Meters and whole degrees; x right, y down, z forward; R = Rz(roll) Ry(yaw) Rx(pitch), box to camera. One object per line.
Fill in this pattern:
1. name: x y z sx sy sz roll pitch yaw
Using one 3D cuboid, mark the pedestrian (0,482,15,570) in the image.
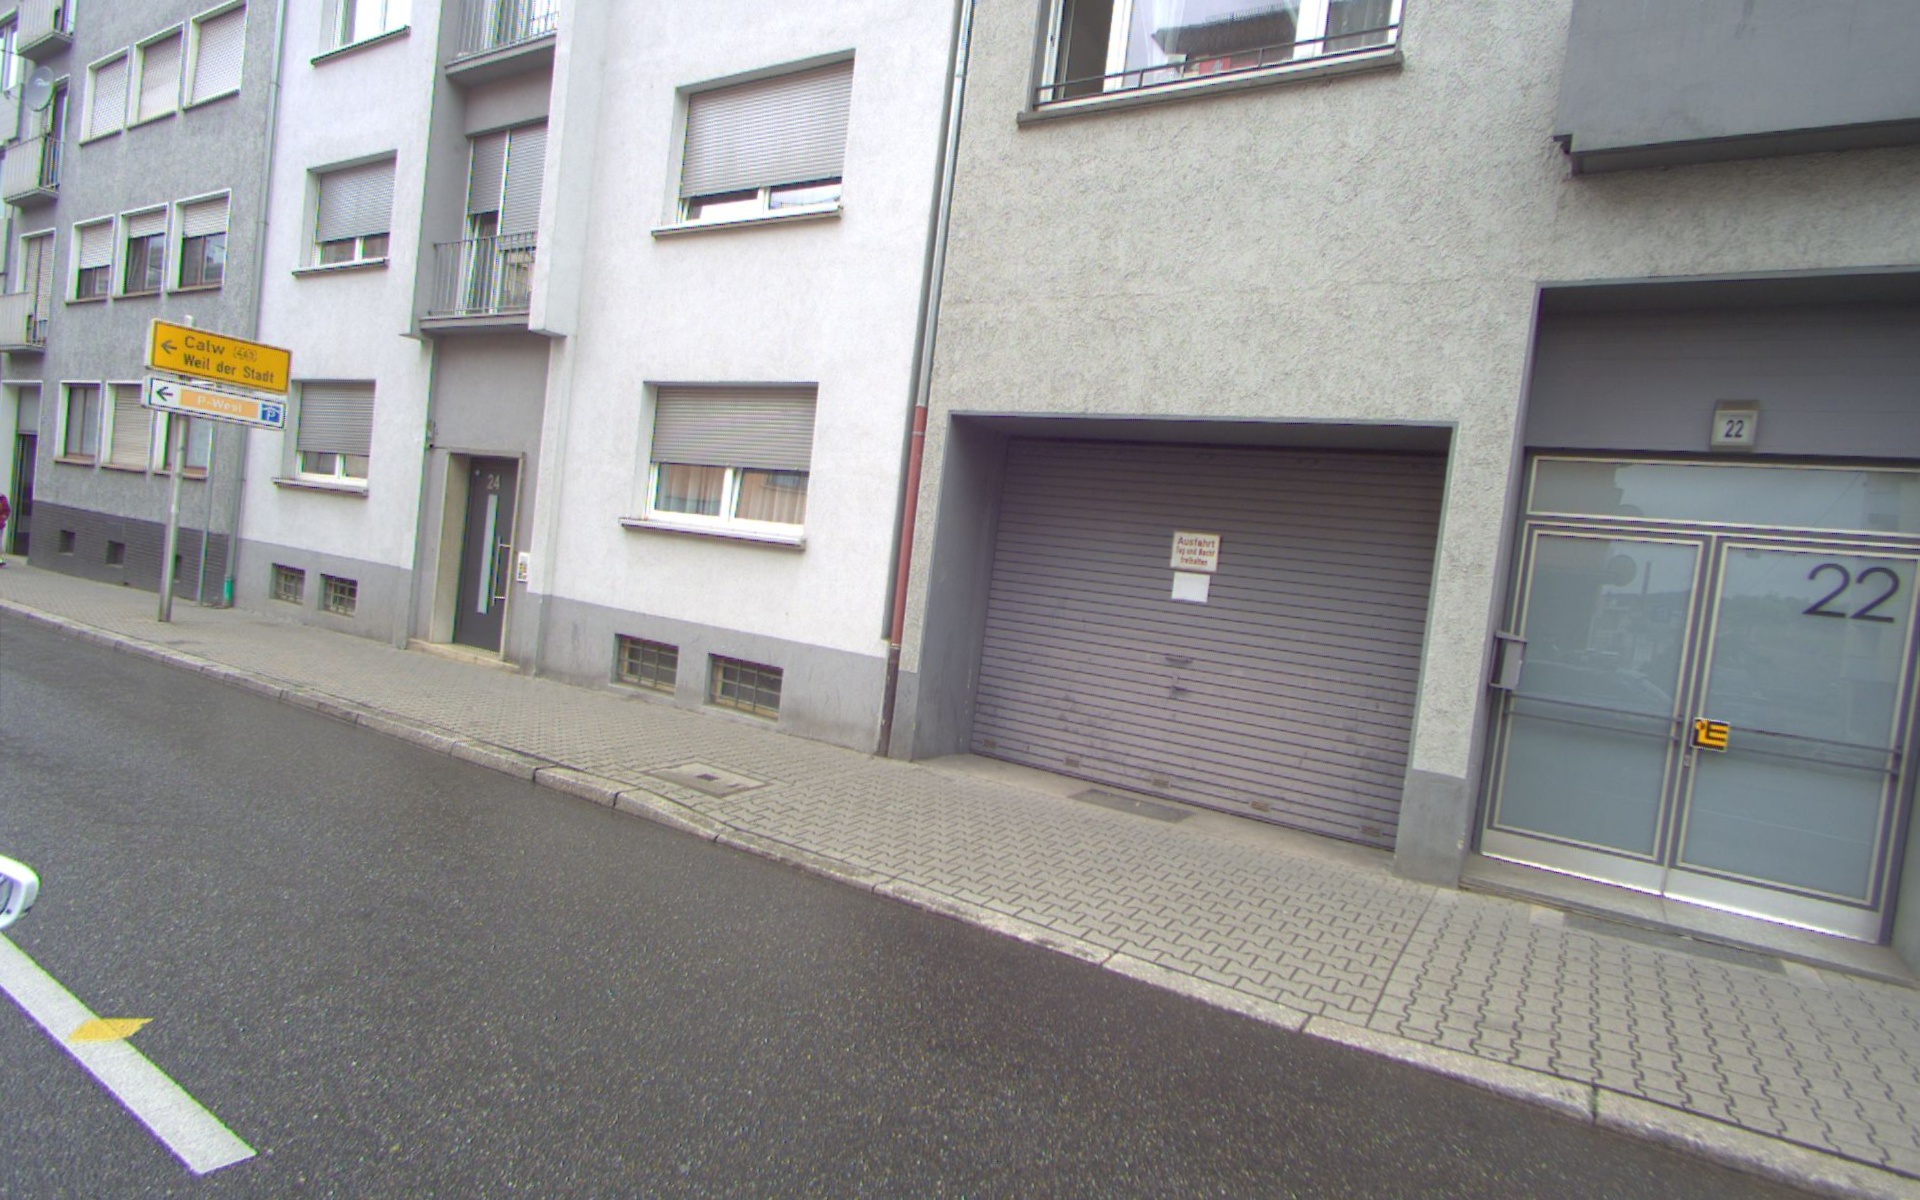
1. pedestrian: -17.893 -1.385 18.529 0.517 1.600 0.560 7 4 31
